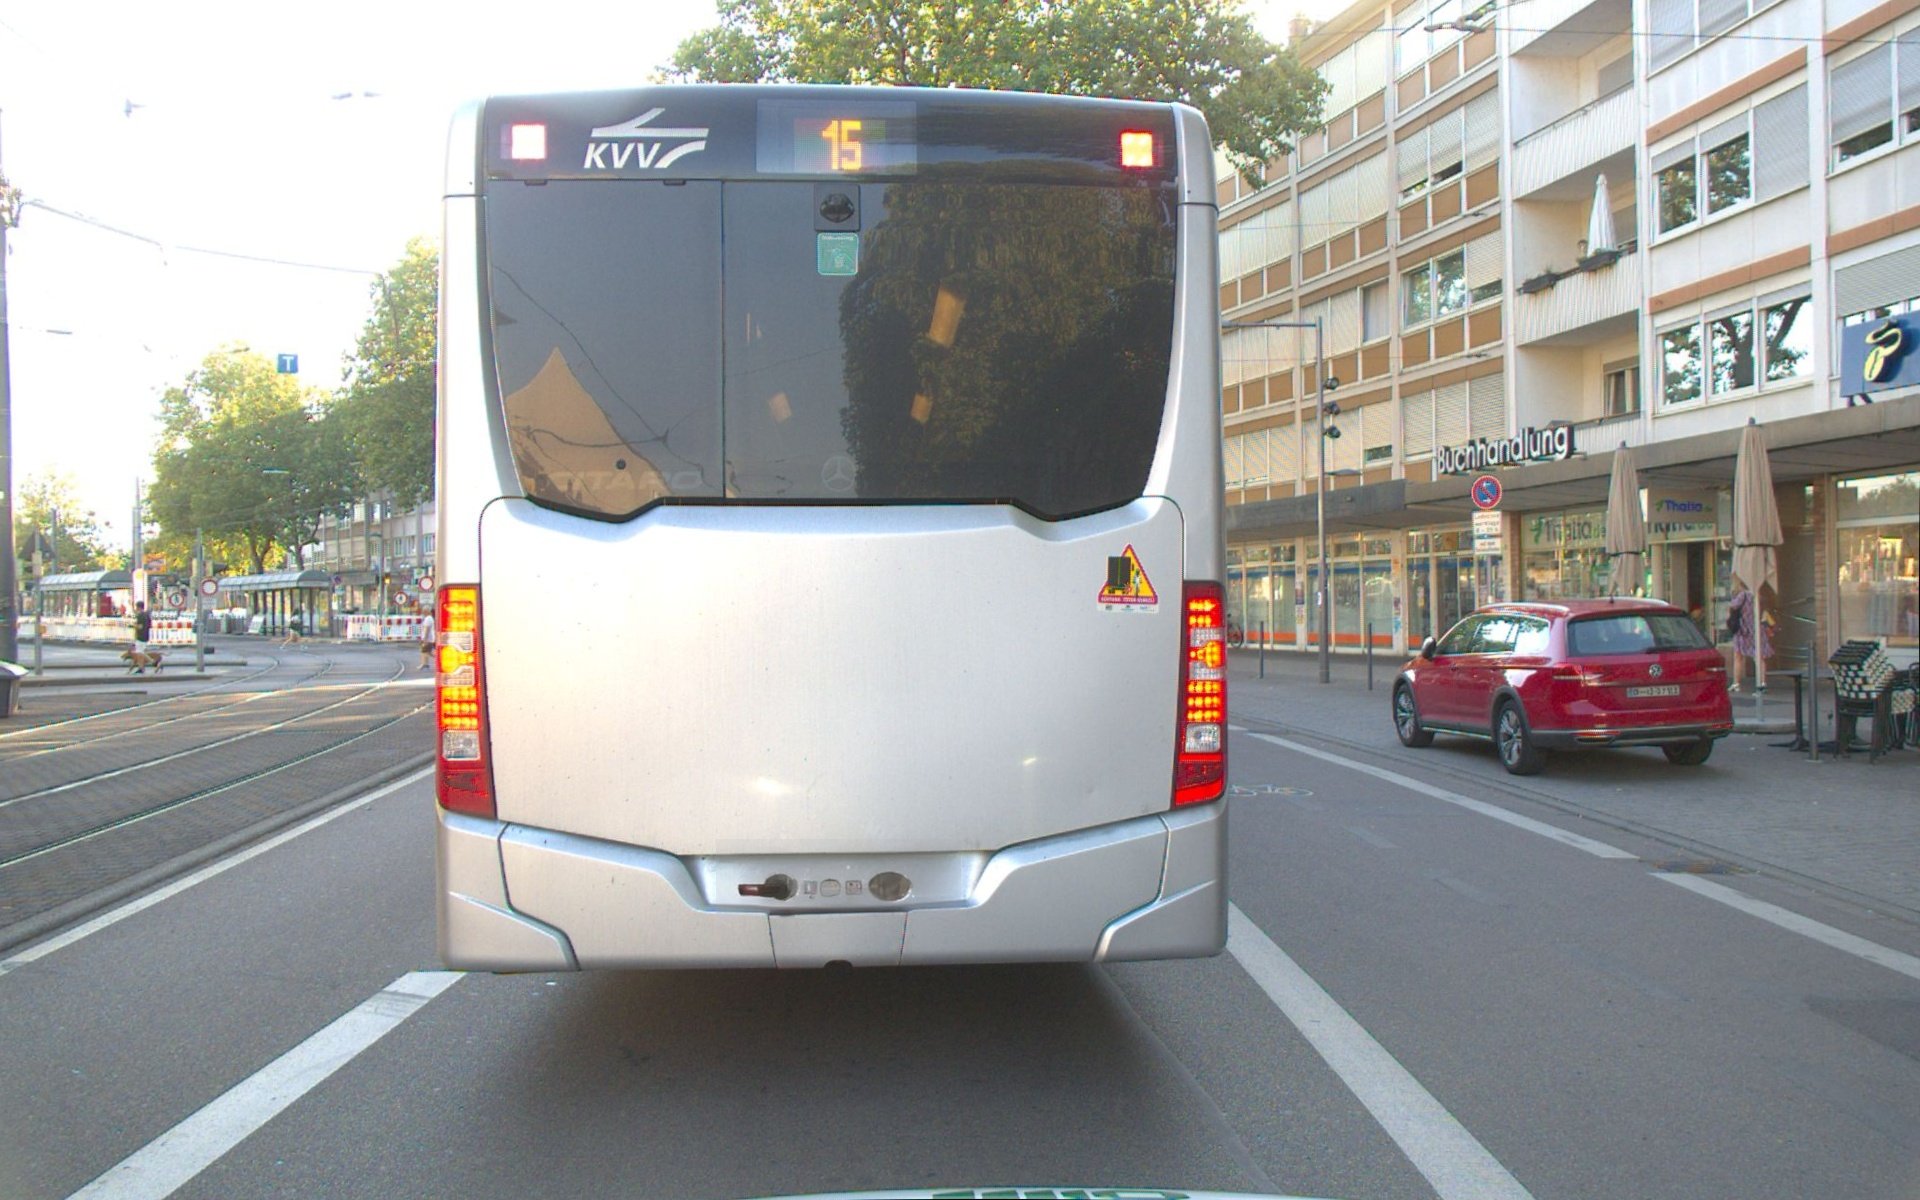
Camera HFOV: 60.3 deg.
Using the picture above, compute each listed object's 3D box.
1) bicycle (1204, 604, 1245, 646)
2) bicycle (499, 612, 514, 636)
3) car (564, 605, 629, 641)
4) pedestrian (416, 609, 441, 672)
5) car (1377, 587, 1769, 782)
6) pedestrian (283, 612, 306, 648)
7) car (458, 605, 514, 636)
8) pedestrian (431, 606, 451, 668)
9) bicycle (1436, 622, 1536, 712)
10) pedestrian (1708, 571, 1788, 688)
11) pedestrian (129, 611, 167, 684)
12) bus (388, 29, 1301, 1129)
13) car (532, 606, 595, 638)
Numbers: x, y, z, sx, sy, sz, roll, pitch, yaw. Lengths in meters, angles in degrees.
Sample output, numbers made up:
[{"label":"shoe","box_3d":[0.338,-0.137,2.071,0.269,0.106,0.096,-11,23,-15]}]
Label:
[{"label":"bicycle","box_3d":[7.270,0.689,45.529,0.431,1.111,1.453,-3,1,-20]},{"label":"bicycle","box_3d":[-23.174,1.211,84.545,0.500,1.232,2.079,-1,0,-21]},{"label":"car","box_3d":[-17.016,1.048,77.366,1.650,1.542,3.367,-5,3,-37]},{"label":"pedestrian","box_3d":[-13.166,0.992,40.960,0.513,1.530,0.589,-1,0,-23]},{"label":"car","box_3d":[5.682,0.703,16.037,1.744,1.522,4.563,-3,0,-5]},{"label":"pedestrian","box_3d":[-25.076,1.128,62.323,0.766,1.326,0.590,-1,0,-22]},{"label":"car","box_3d":[-25.117,1.094,87.615,1.651,1.494,3.365,-5,3,-38]},{"label":"pedestrian","box_3d":[-13.065,0.926,41.627,0.403,1.530,0.513,-1,0,-24]},{"label":"bicycle","box_3d":[6.879,0.853,21.701,0.502,1.089,1.657,-3,0,-10]},{"label":"pedestrian","box_3d":[10.886,0.404,22.868,0.627,1.579,0.806,-1,0,-8]},{"label":"pedestrian","box_3d":[-19.606,1.142,39.933,0.422,1.740,0.675,1,-1,31]},{"label":"bus","box_3d":[-0.547,-0.052,9.912,2.605,3.153,10.210,-1,0,-3]},{"label":"car","box_3d":[-19.342,1.071,80.646,1.652,1.419,3.364,-5,3,-39]}]
